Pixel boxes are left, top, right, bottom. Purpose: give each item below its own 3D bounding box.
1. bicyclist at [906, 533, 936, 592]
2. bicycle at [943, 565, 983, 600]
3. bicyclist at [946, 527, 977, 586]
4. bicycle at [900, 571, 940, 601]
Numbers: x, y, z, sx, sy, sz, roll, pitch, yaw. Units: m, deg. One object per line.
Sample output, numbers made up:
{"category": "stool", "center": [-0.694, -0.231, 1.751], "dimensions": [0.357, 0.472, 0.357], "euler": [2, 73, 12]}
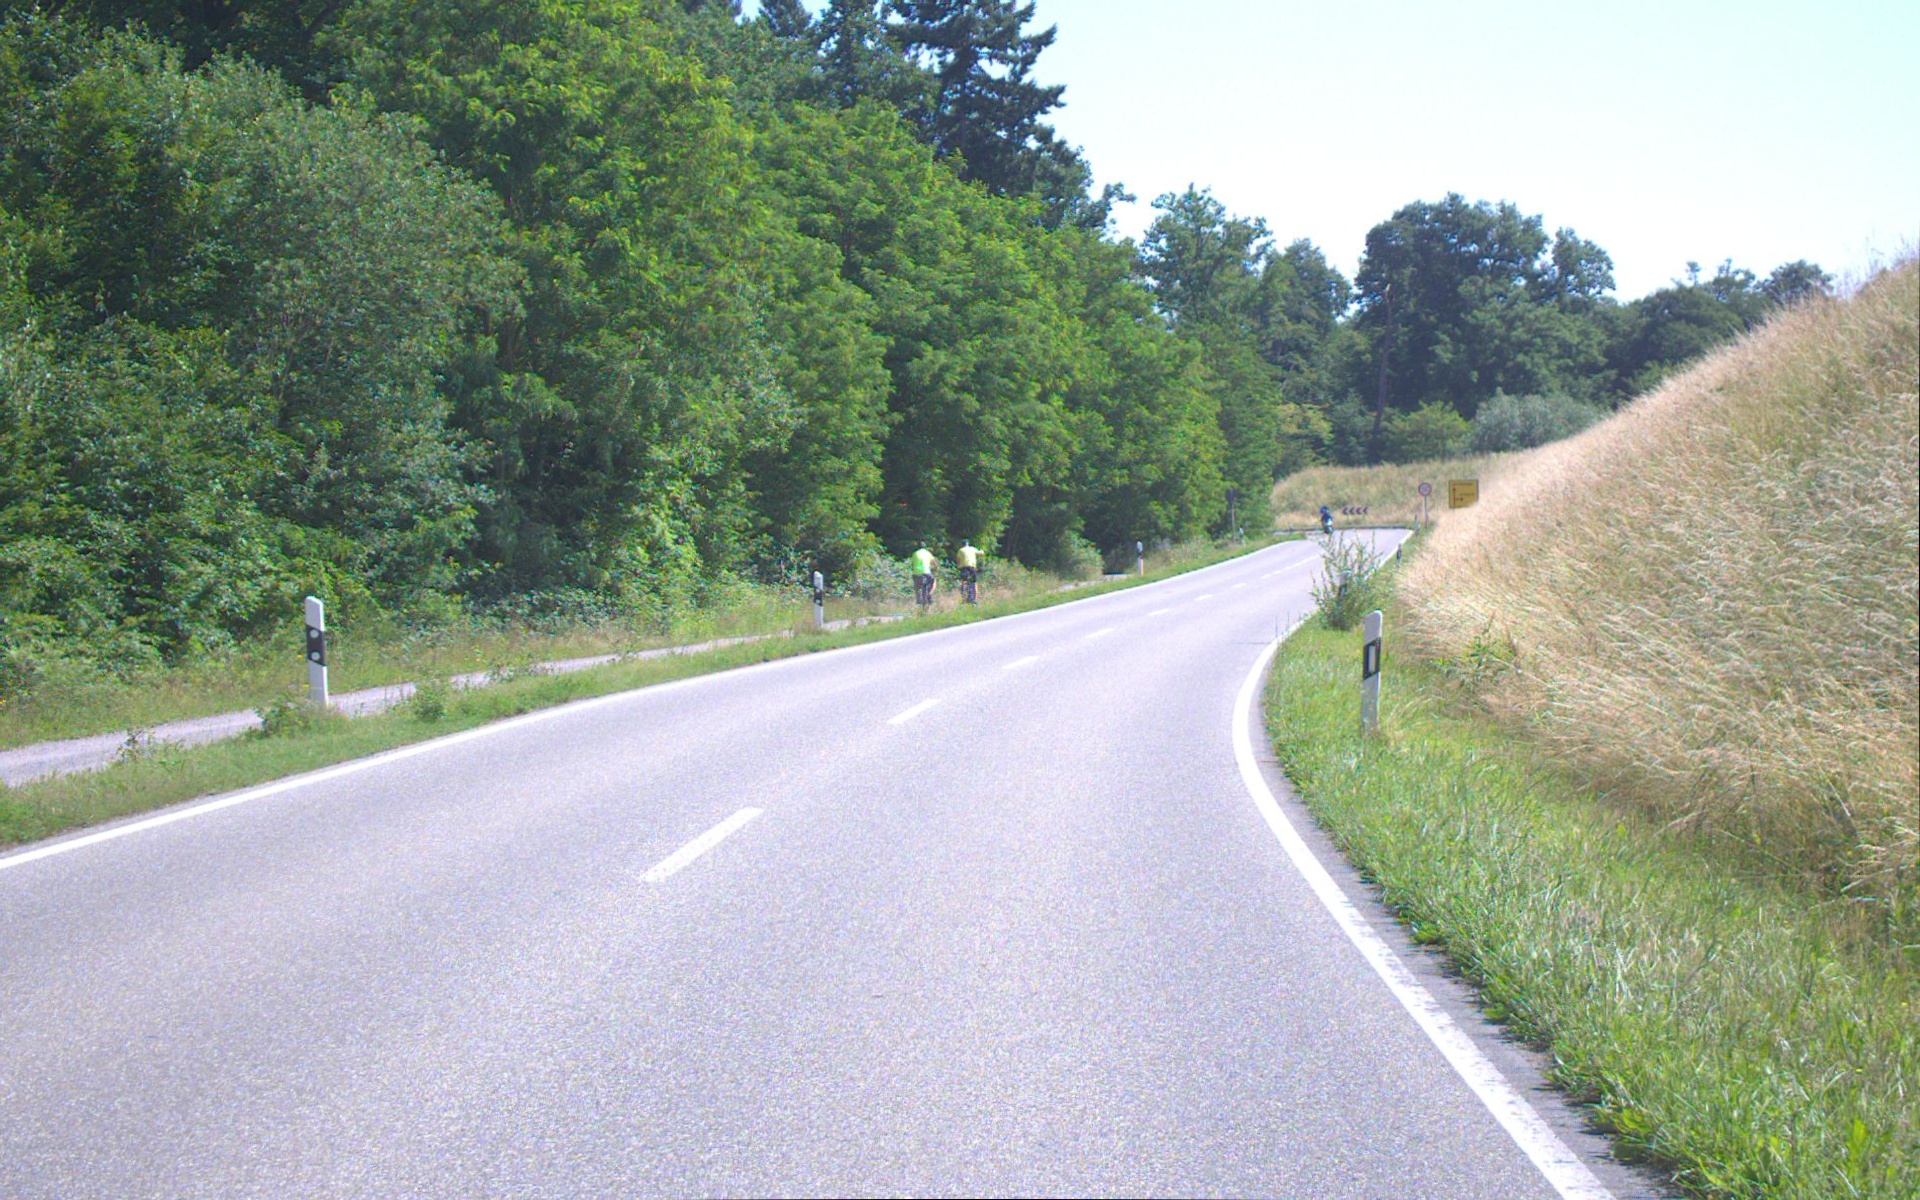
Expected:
{"category": "bicyclist", "center": [-0.943, -0.904, 82.839], "dimensions": [0.605, 1.411, 0.702], "euler": [1, -1, 8]}
{"category": "bicycle", "center": [0.075, -0.433, 82.666], "dimensions": [0.640, 0.785, 2.136], "euler": [-2, 1, 8]}
{"category": "bicyclist", "center": [0.037, -1.051, 82.680], "dimensions": [0.605, 1.410, 0.702], "euler": [-2, 1, 8]}
{"category": "bicycle", "center": [-0.949, -0.347, 82.824], "dimensions": [0.619, 0.679, 2.136], "euler": [-2, 1, 8]}
